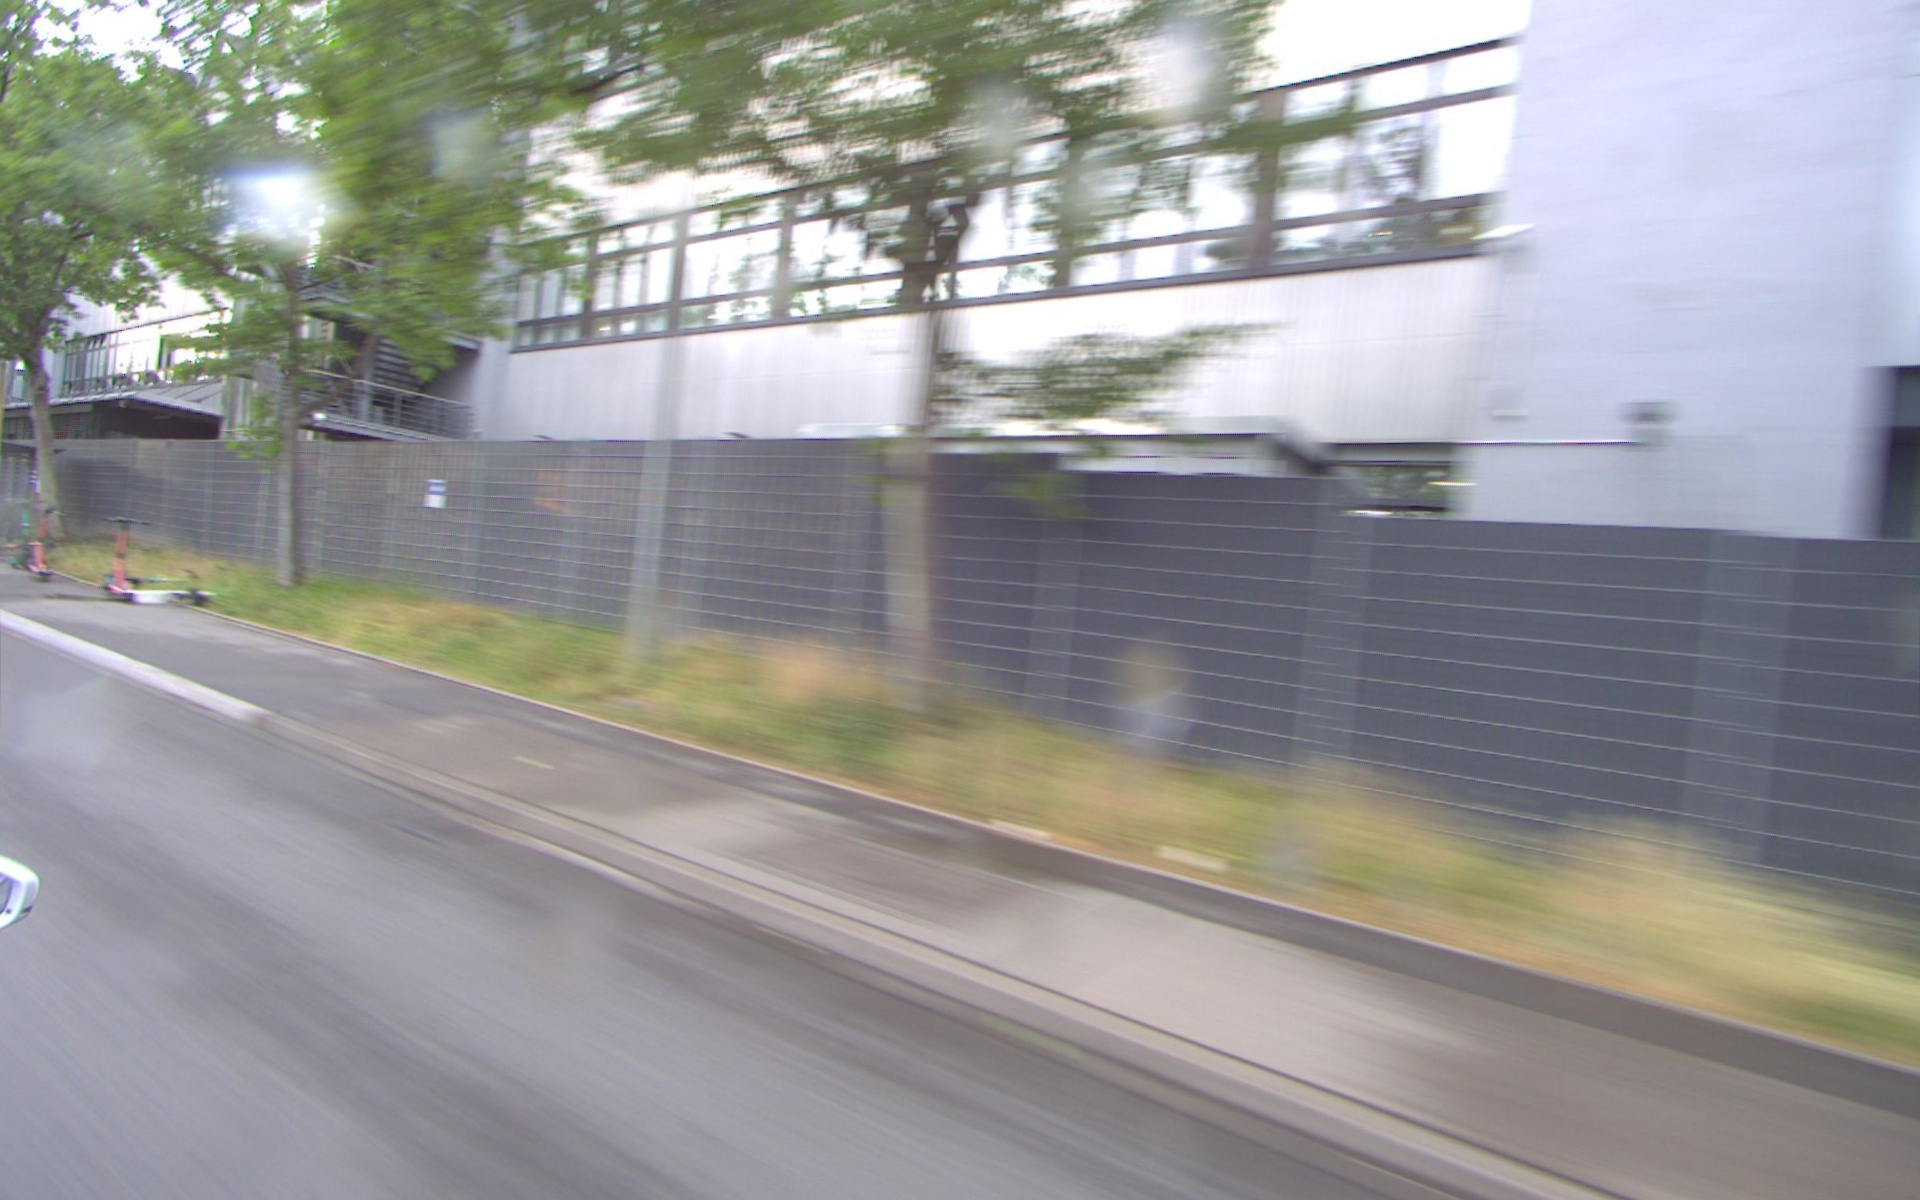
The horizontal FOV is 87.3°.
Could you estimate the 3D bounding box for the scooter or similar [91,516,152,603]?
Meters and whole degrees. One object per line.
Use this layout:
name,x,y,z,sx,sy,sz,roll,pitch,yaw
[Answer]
scooter or similar,-12.936,-0.632,15.511,1.056,1.242,0.388,7,2,35

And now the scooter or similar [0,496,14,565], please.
scooter or similar,-19.134,-1.415,19.725,1.411,1.309,0.503,7,1,35

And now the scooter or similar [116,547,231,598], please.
scooter or similar,-13.978,-0.479,17.898,1.496,0.723,0.655,6,1,3

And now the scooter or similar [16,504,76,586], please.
scooter or similar,-15.604,-0.949,17.168,1.175,1.286,0.433,7,2,35

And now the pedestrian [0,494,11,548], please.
pedestrian,-24.472,-2.041,25.142,0.676,1.333,0.949,7,1,41

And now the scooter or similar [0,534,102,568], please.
scooter or similar,-19.355,-1.042,21.460,1.554,0.526,0.636,6,1,-40

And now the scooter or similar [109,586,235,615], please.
scooter or similar,-11.627,0.008,14.856,1.495,0.249,0.655,7,0,12

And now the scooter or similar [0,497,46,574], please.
scooter or similar,-17.428,-1.215,18.561,1.411,1.309,0.475,7,2,35
